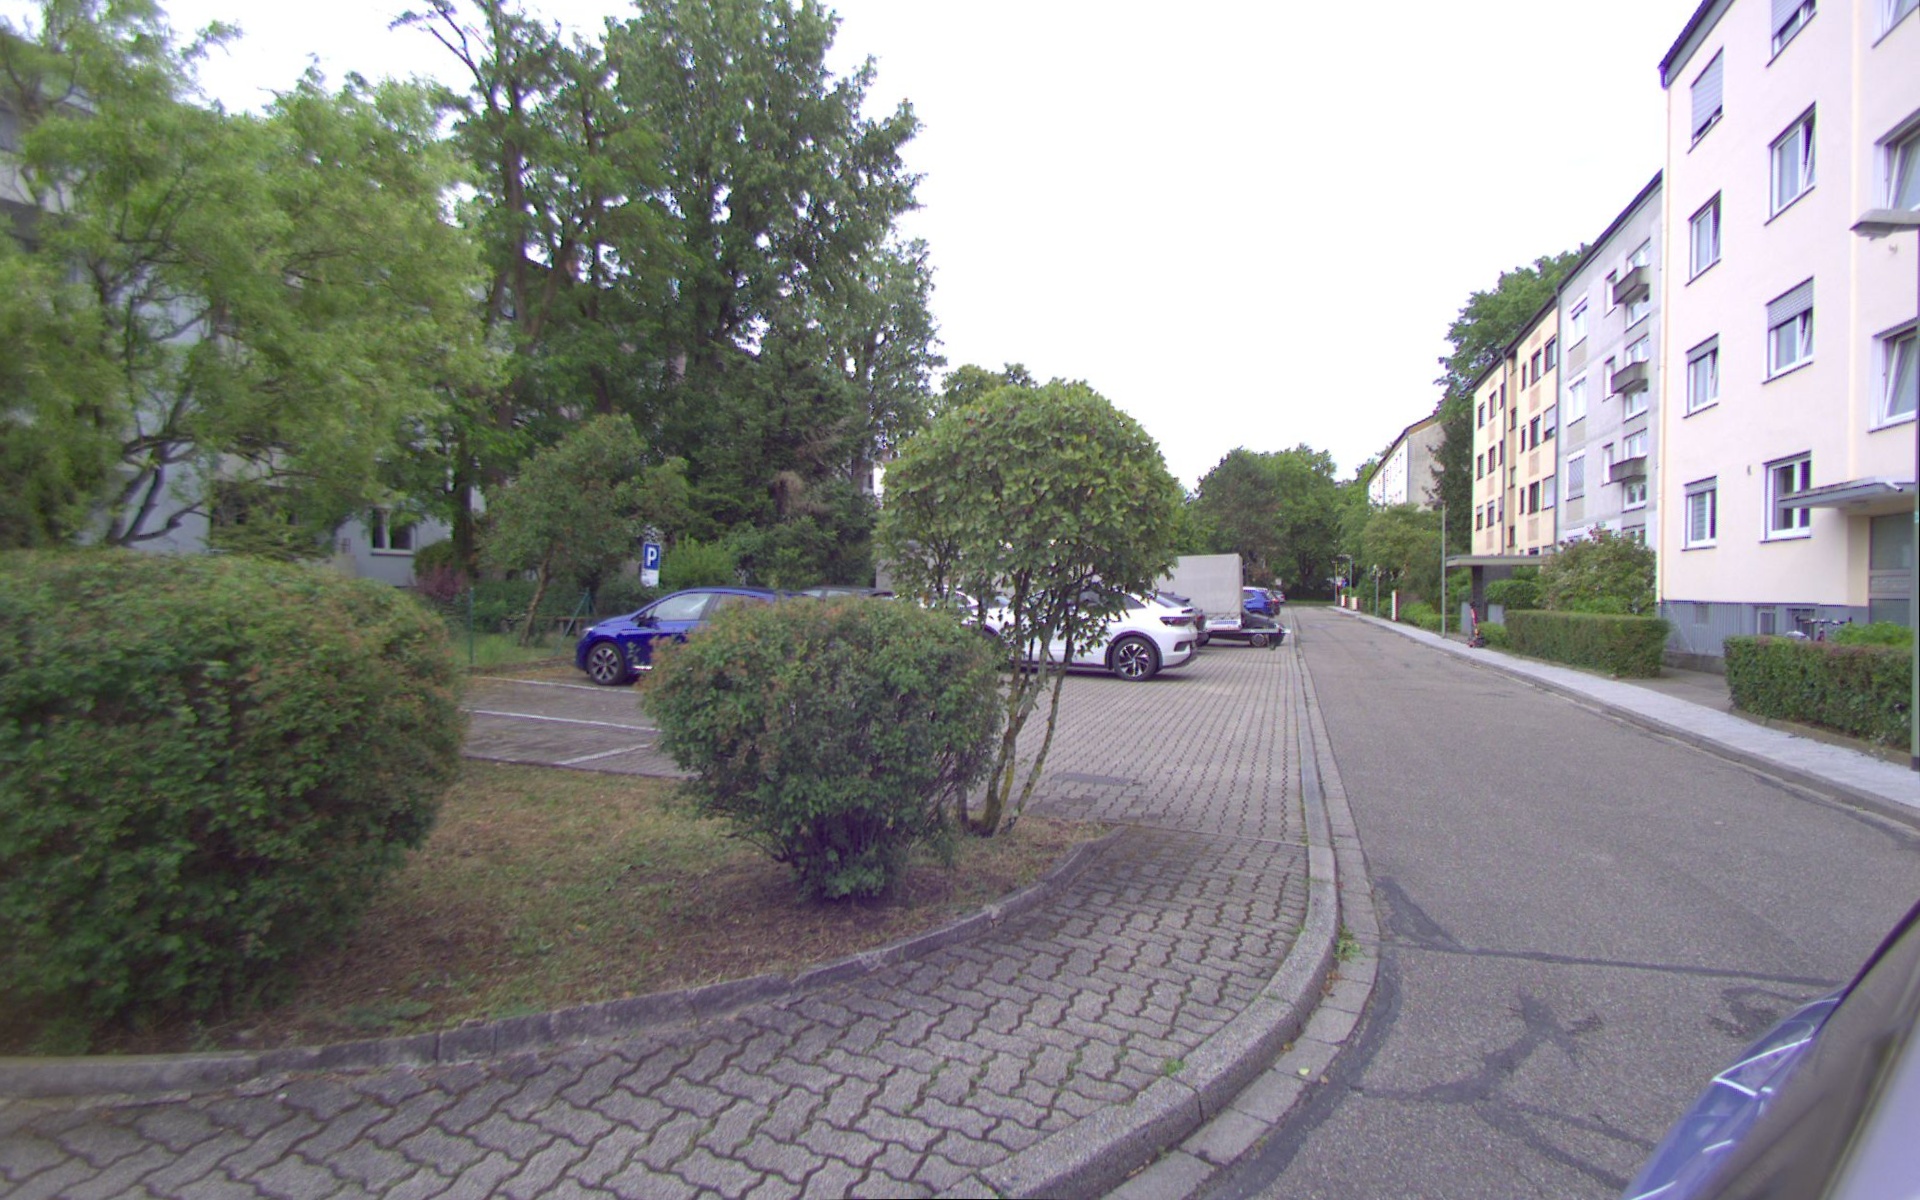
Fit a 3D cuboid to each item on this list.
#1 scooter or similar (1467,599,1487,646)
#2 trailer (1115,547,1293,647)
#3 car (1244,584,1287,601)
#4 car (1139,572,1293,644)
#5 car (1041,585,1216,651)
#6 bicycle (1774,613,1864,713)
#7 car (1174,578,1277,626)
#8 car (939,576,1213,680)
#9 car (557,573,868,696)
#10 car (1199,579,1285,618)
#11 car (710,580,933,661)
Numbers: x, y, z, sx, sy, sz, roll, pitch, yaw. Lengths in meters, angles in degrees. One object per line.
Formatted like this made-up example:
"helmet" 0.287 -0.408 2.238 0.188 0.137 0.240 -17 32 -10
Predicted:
"scooter or similar" 13.937 0.588 27.315 0.270 1.226 1.158 1 0 17
"trailer" 6.652 -0.094 27.559 4.565 2.557 1.930 0 0 20
"car" 30.438 -0.775 100.905 4.052 1.667 1.778 1 1 18
"car" 7.650 0.203 30.237 4.269 1.824 1.988 3 1 18
"car" 4.173 0.394 25.016 4.087 1.467 1.603 1 1 19
"bicycle" 10.302 0.726 12.175 0.315 1.089 1.409 0 1 18
"car" 10.919 0.051 41.535 3.948 1.724 1.988 3 1 18
"car" 2.076 0.426 17.976 4.496 1.608 1.974 1 0 21
"car" -3.495 0.421 14.470 3.860 1.529 2.015 1 0 19
"car" 14.647 -0.098 52.496 4.154 1.749 1.988 3 1 18
"car" -2.667 0.344 19.695 3.860 1.398 1.960 1 0 19
